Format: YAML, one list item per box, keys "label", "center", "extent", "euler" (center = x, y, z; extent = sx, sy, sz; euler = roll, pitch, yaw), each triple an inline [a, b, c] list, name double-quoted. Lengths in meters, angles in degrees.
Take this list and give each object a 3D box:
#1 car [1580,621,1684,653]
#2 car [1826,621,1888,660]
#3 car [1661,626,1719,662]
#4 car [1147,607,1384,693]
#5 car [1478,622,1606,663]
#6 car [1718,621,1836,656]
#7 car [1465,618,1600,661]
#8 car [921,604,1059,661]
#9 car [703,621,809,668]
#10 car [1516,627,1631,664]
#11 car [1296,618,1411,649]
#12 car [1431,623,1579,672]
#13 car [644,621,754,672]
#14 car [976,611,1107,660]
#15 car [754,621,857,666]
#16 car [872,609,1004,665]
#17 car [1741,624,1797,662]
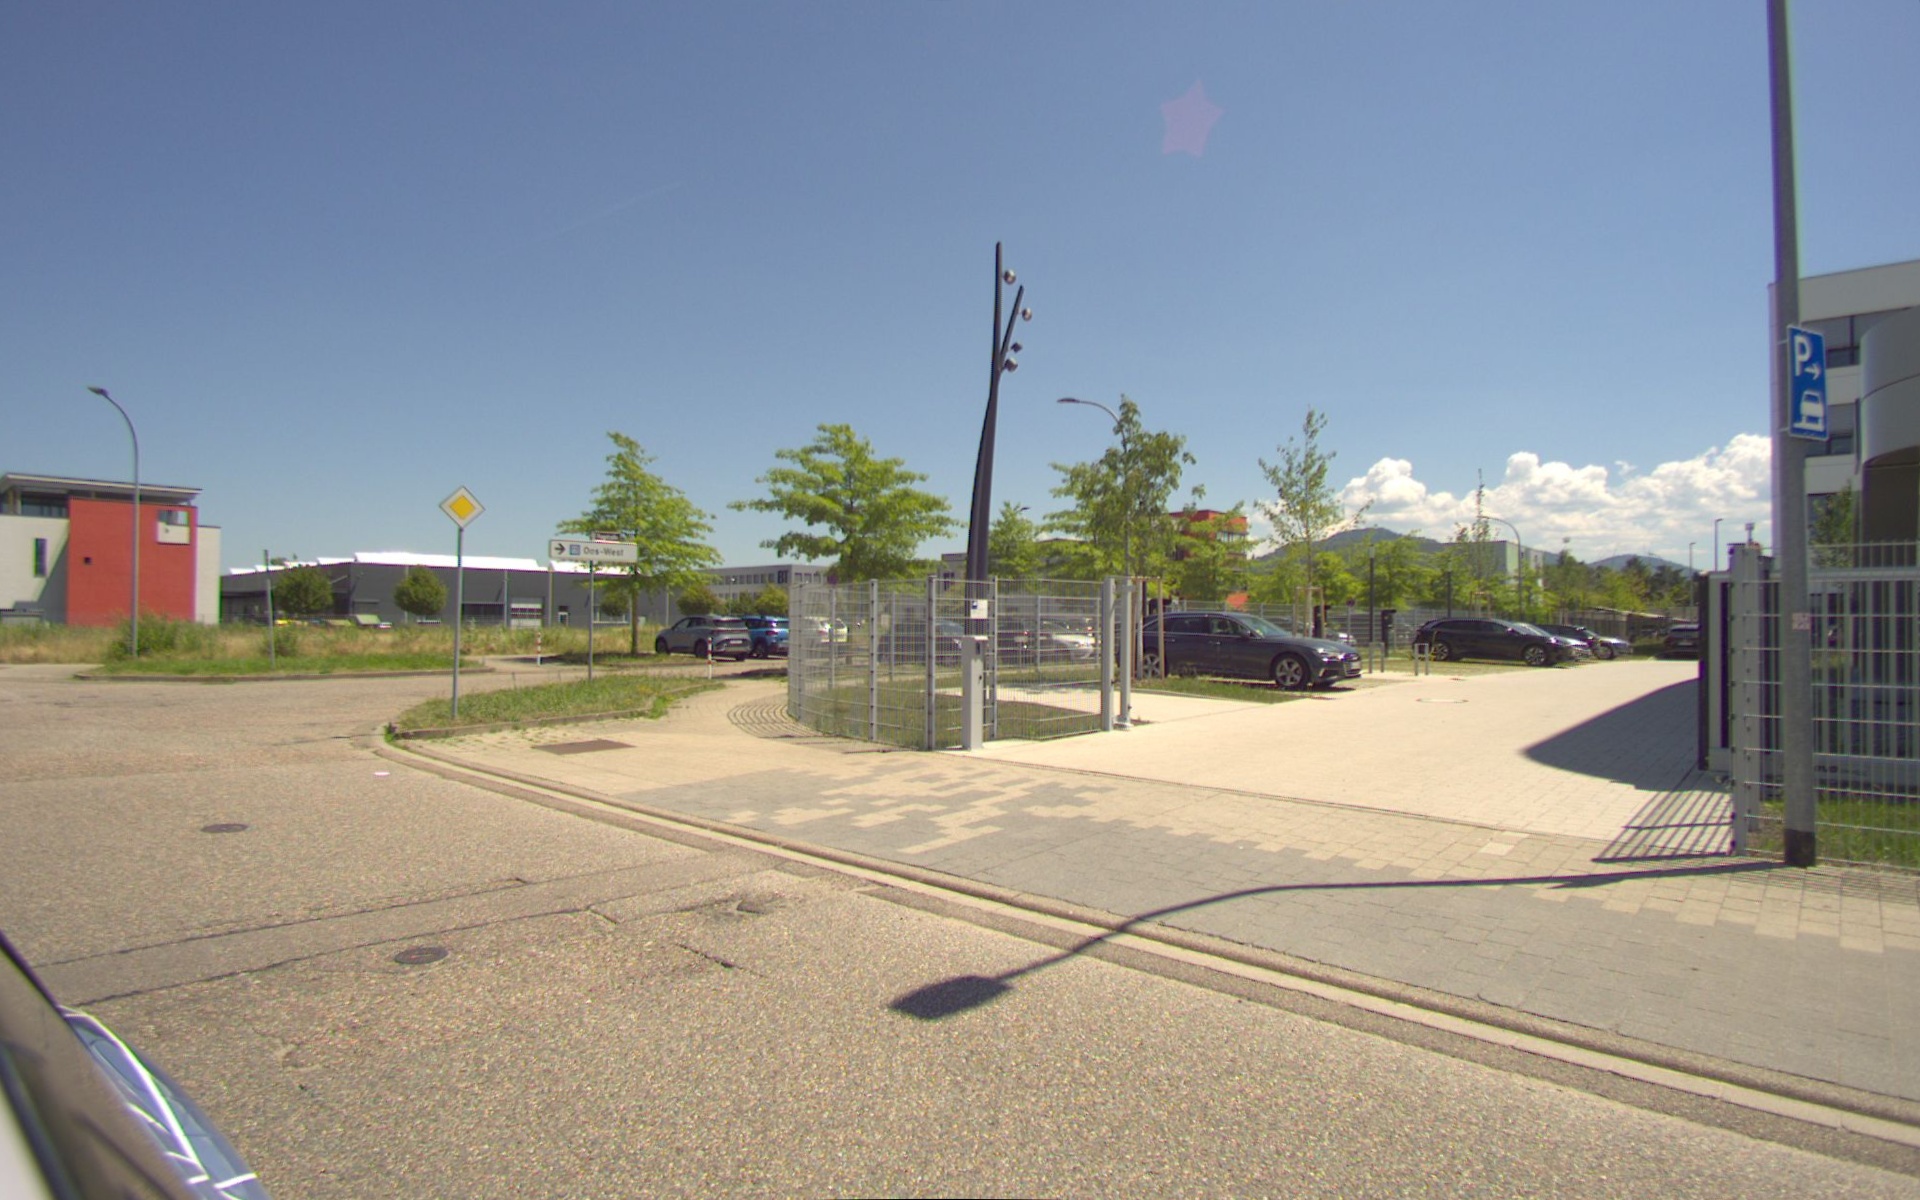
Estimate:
- label: "car"
  center: [33.107, 1.799, 49.915]
  extent: [4.103, 1.523, 1.752]
  euler: [-1, -2, 41]
- label: "car"
  center: [36.721, 1.629, 41.502]
  extent: [1.775, 1.523, 4.050]
  euler: [-1, -2, 40]
- label: "car"
  center: [32.569, 1.928, 45.117]
  extent: [1.775, 1.523, 4.050]
  euler: [-1, -2, 40]
- label: "car"
  center: [5.899, 0.942, 19.839]
  extent: [4.103, 1.523, 1.752]
  euler: [-1, -2, 41]
- label: "car"
  center: [22.839, 1.658, 39.801]
  extent: [4.103, 1.523, 1.752]
  euler: [-1, -2, 41]
- label: "car"
  center: [37.100, 1.731, 46.019]
  extent: [4.103, 1.523, 1.752]
  euler: [-1, -2, 41]
- label: "car"
  center: [21.319, 1.463, 37.768]
  extent: [4.103, 1.523, 1.752]
  euler: [-1, -2, 41]
- label: "car"
  center: [0.859, 1.033, 31.122]
  extent: [4.254, 1.633, 1.588]
  euler: [-3, -3, 44]
- label: "car"
  center: [-7.977, 1.681, 39.387]
  extent: [4.309, 1.710, 1.930]
  euler: [-1, -1, 43]
- label: "car"
  center: [26.866, 1.966, 44.379]
  extent: [4.103, 1.523, 1.752]
  euler: [-1, -2, 41]
- label: "car"
  center: [20.355, 1.755, 52.511]
  extent: [5.113, 1.487, 2.185]
  euler: [-3, -3, 42]
- label: "car"
  center: [18.213, 1.556, 33.917]
  extent: [4.103, 1.523, 1.752]
  euler: [-1, -2, 41]
- label: "car"
  center: [-9.616, 1.651, 37.069]
  extent: [4.309, 1.710, 1.930]
  euler: [-1, -1, 43]
- label: "car"
  center: [2.581, 1.189, 32.759]
  extent: [4.114, 1.487, 1.589]
  euler: [-3, -3, 42]
- label: "car"
  center: [-6.308, 1.728, 41.096]
  extent: [4.309, 1.710, 1.930]
  euler: [-1, -1, 43]
- label: "car"
  center: [-0.687, 1.080, 29.032]
  extent: [3.799, 1.487, 1.588]
  euler: [-3, -3, 44]
- label: "car"
  center: [34.767, 1.829, 43.456]
  extent: [1.775, 1.523, 4.050]
  euler: [-1, -2, 40]
